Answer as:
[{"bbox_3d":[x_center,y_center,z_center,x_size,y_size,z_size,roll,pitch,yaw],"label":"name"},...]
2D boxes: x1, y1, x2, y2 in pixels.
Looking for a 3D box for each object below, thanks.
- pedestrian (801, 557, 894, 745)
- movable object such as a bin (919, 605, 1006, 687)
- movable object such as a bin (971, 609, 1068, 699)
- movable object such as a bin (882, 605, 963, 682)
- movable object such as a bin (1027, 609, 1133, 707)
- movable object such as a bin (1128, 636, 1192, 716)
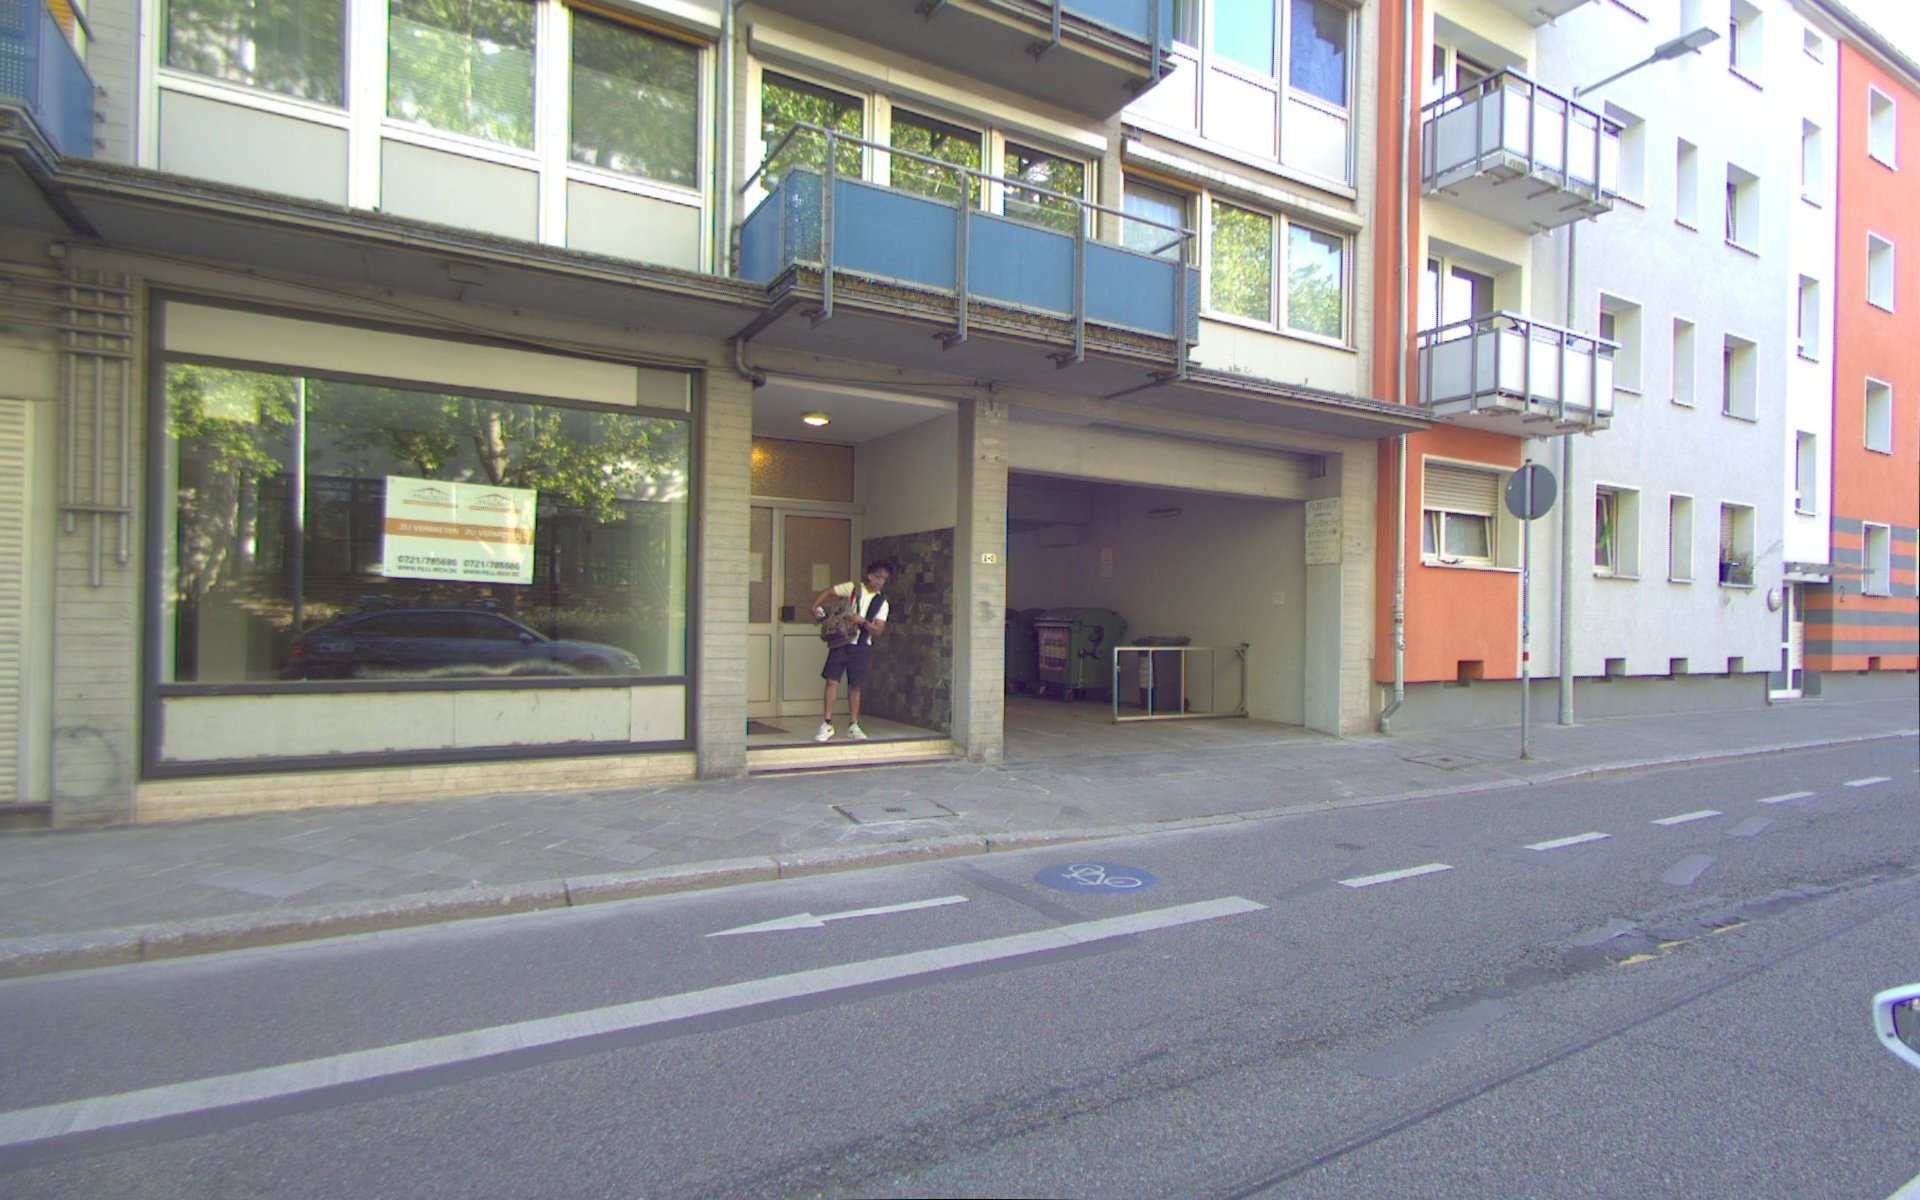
[{"bbox_3d":[-1.029,0.457,9.304,0.778,1.639,0.836,2,0,-5],"label":"pedestrian"},{"bbox_3d":[0.029,0.841,18.700,1.120,1.444,1.268,2,0,-28],"label":"movable object such as a bin"},{"bbox_3d":[1.004,0.897,17.154,1.120,1.444,1.268,2,0,-28],"label":"movable object such as a bin"},{"bbox_3d":[-0.744,0.845,19.790,1.120,1.444,1.268,2,0,-28],"label":"movable object such as a bin"},{"bbox_3d":[1.872,0.882,15.813,1.120,1.444,1.268,2,0,-28],"label":"movable object such as a bin"},{"bbox_3d":[2.884,1.081,14.489,0.713,1.094,0.533,2,0,-29],"label":"movable object such as a bin"}]
